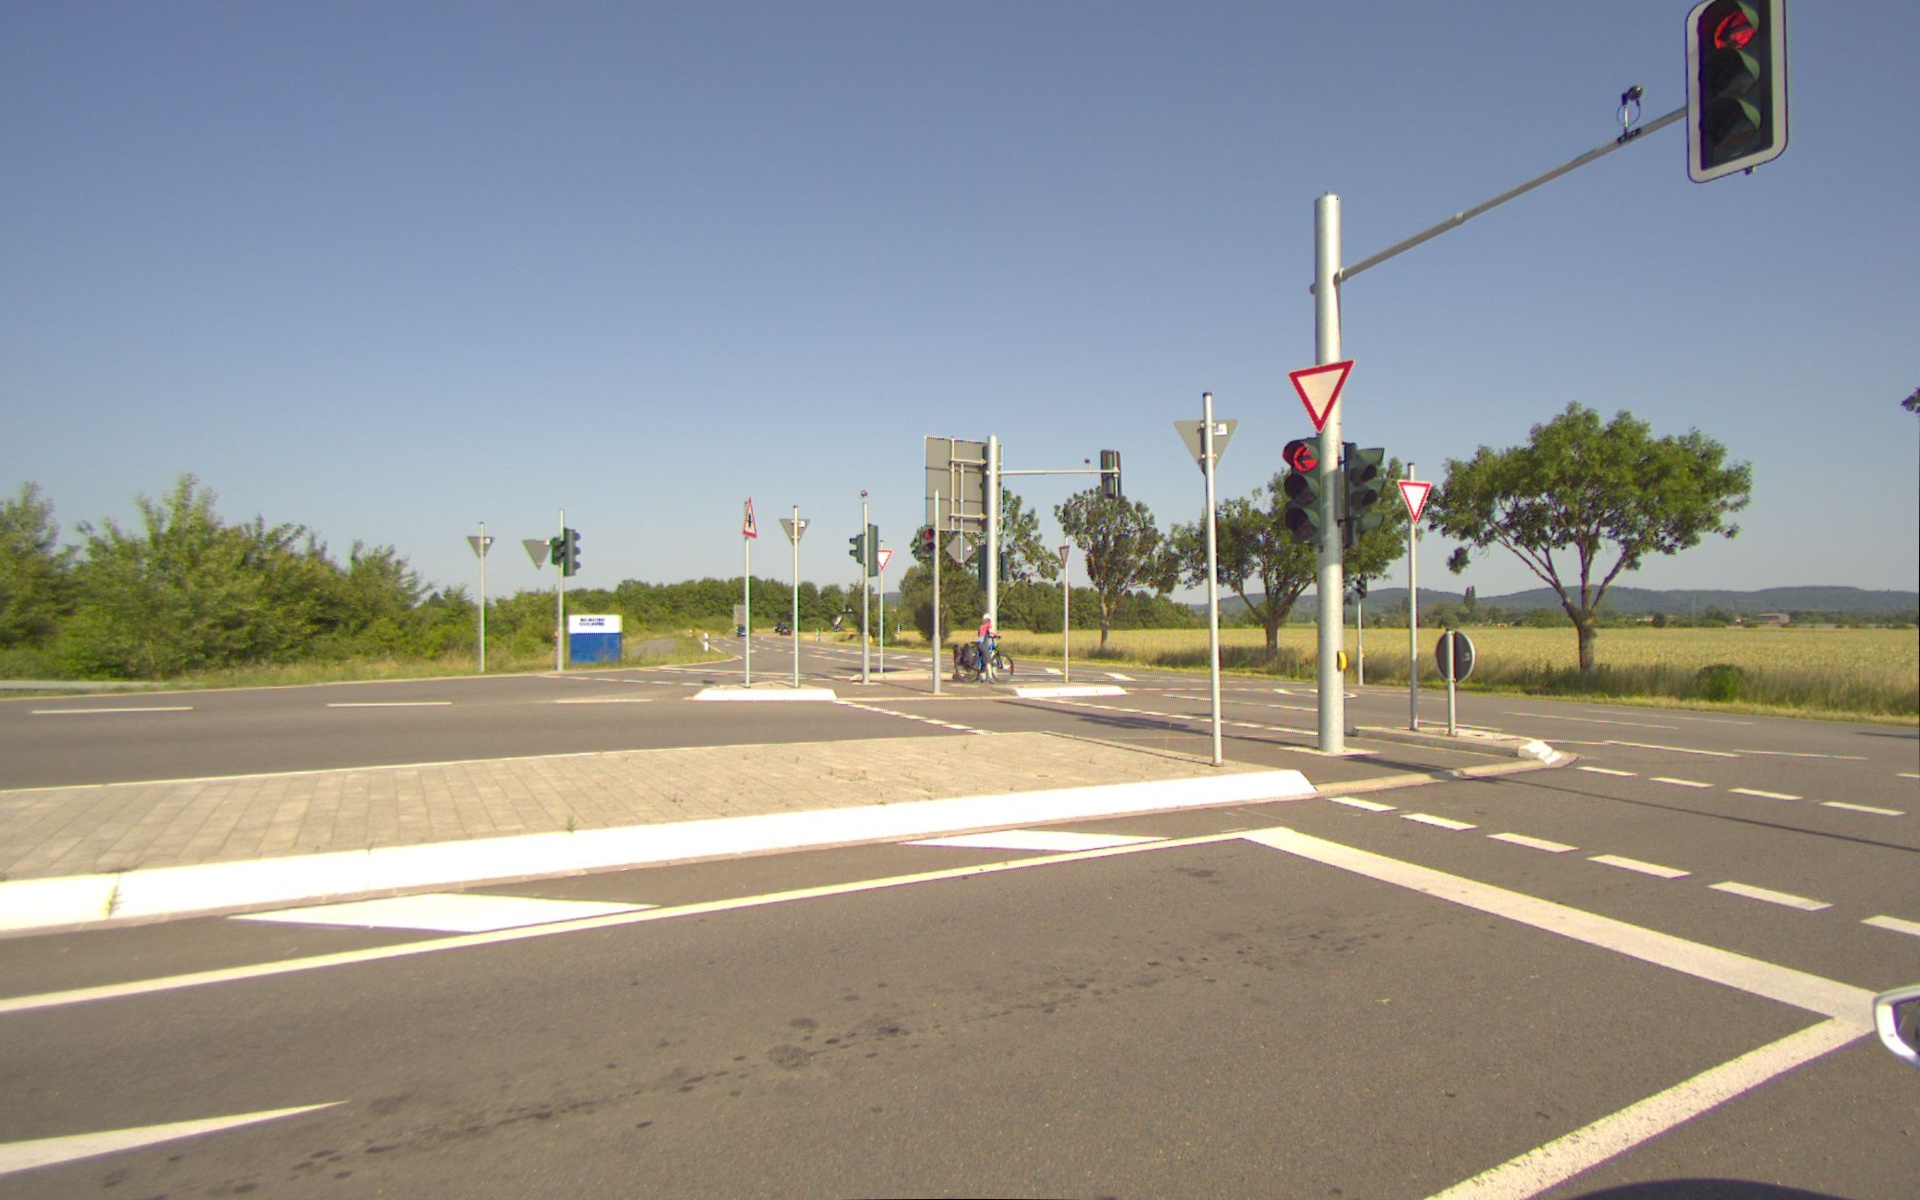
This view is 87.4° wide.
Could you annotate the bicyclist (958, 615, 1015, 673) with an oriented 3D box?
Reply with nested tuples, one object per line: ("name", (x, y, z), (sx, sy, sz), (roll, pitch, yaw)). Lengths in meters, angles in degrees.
("bicyclist", (0.640, 1.065, 24.472), (1.062, 1.369, 0.851), (2, -1, -31))

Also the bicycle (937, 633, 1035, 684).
("bicycle", (0.630, 1.414, 24.403), (2.126, 1.164, 1.065), (3, -1, -31))

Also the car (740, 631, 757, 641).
("car", (-27.205, 4.652, 129.440), (1.708, 1.127, 3.996), (2, -2, -7))

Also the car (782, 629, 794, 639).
("car", (-28.086, 5.495, 163.859), (1.697, 1.544, 3.464), (2, -1, -8))
